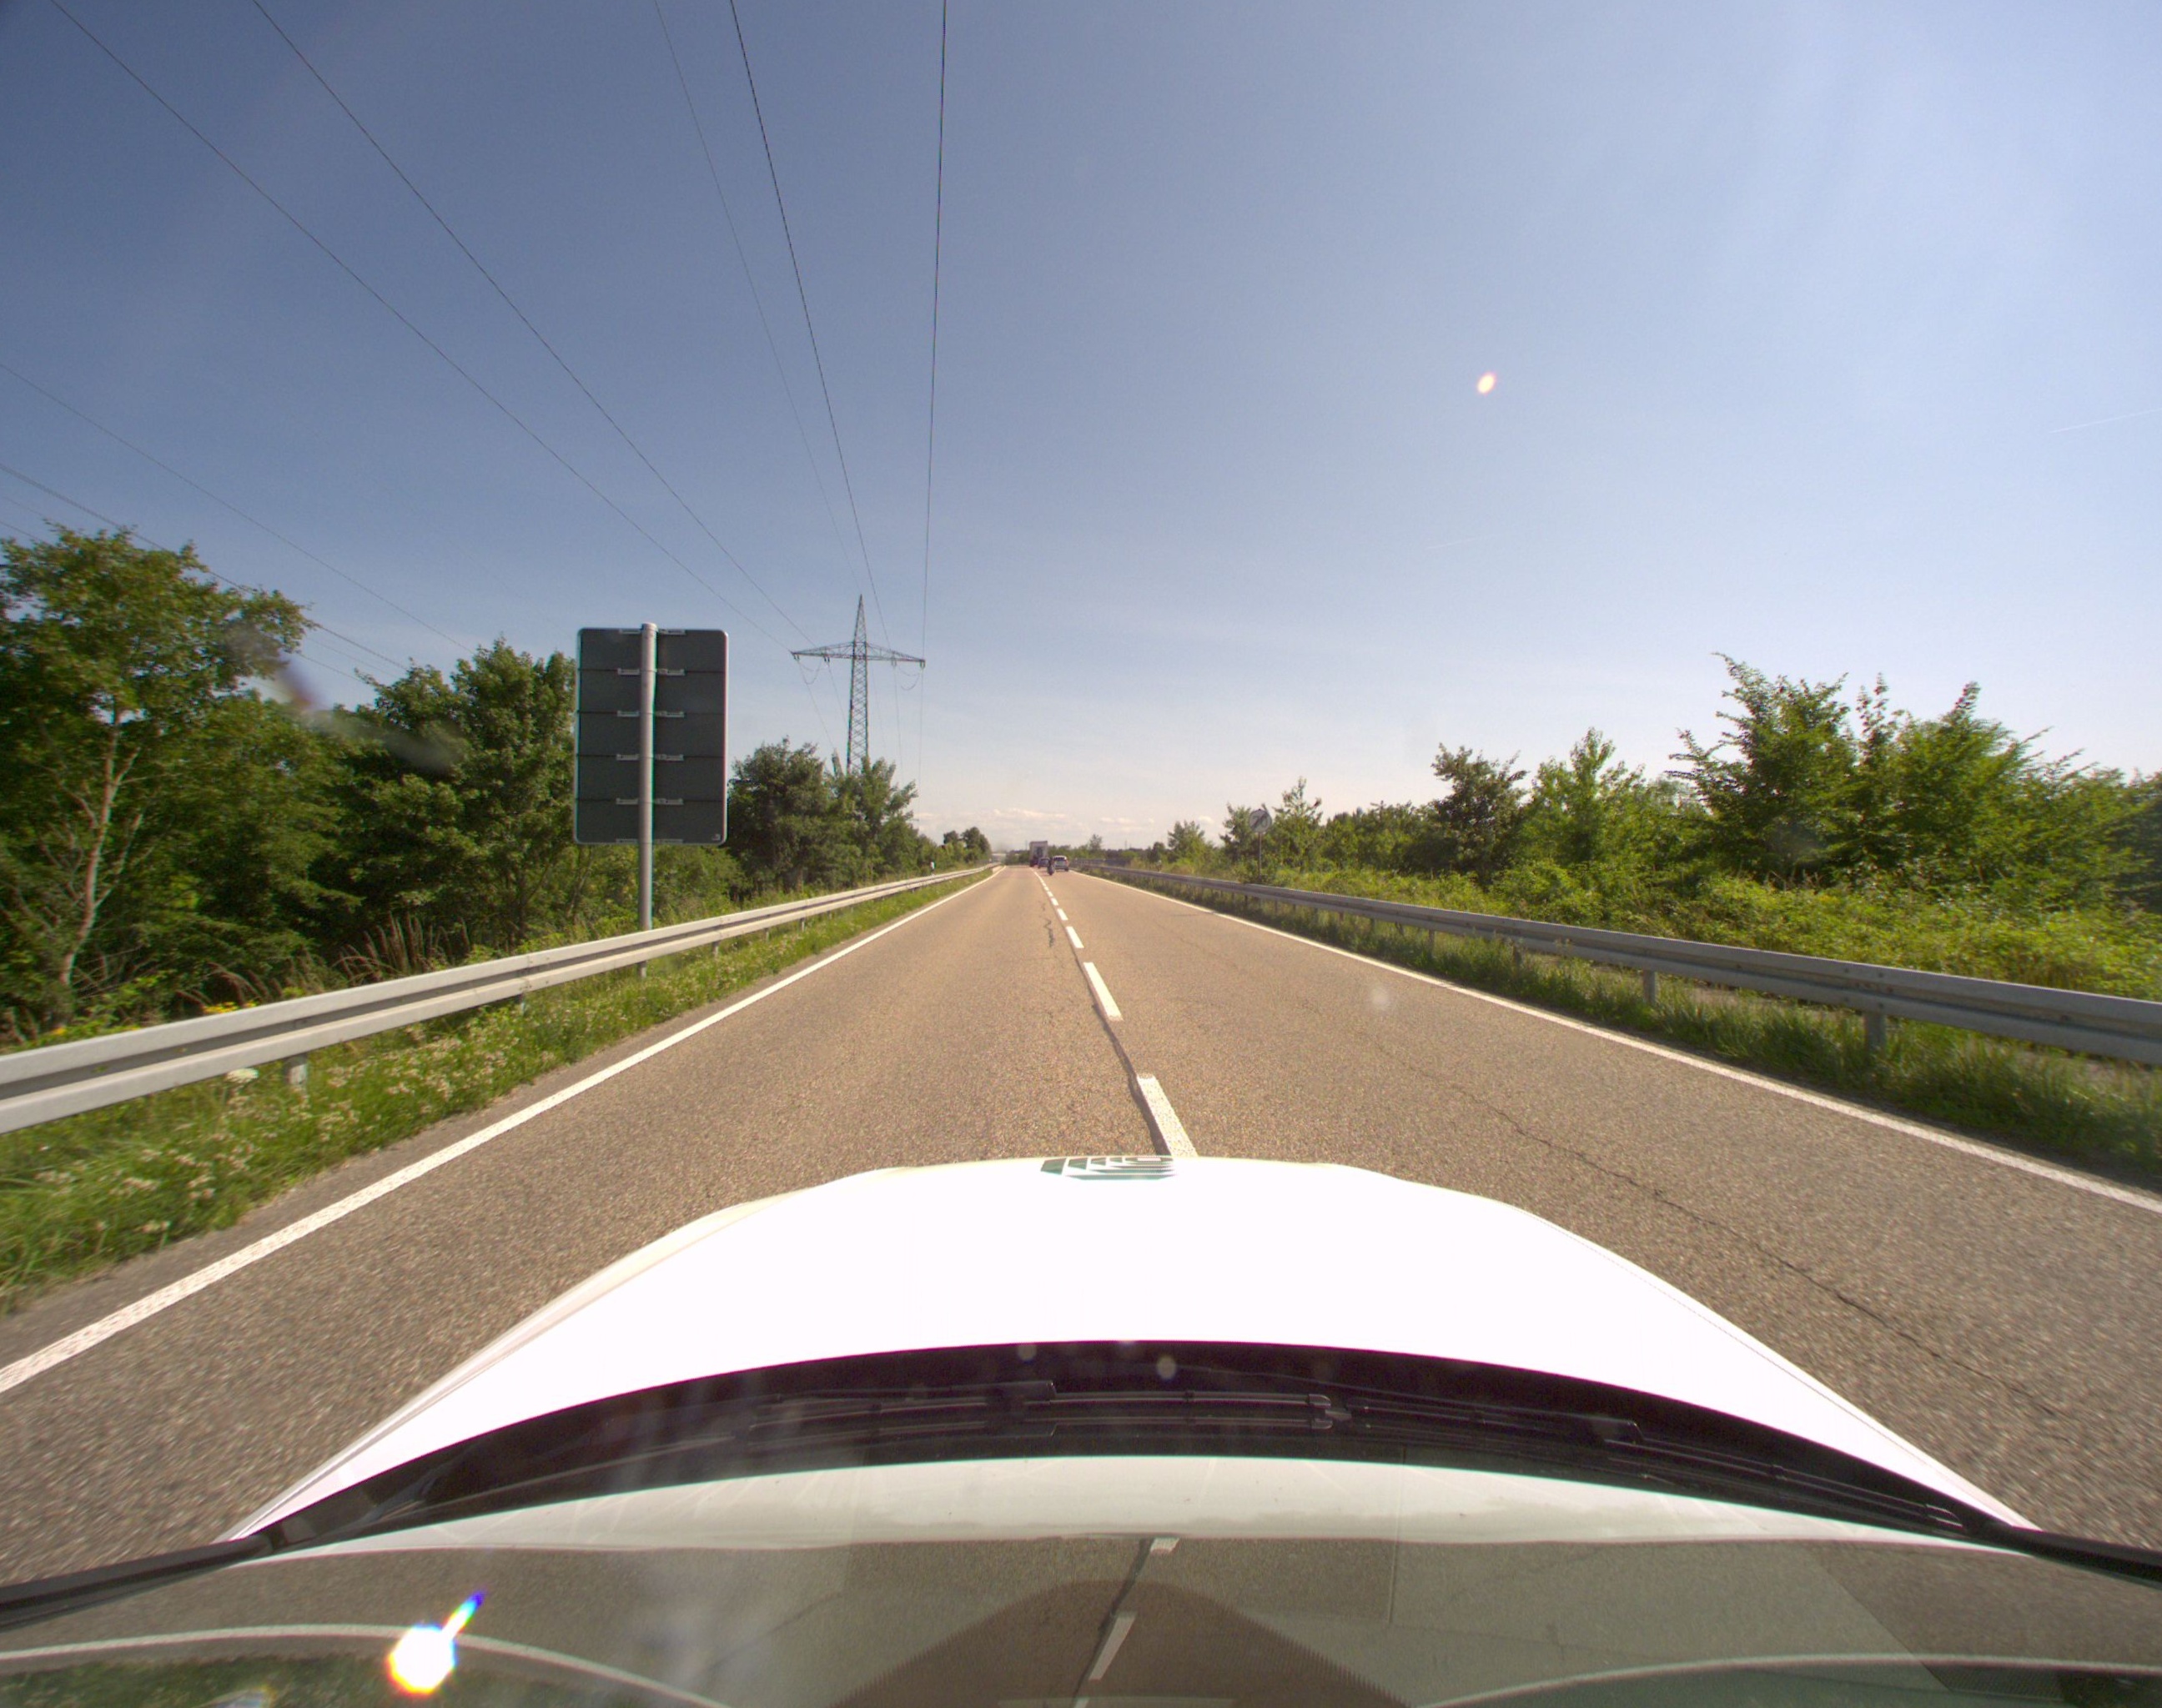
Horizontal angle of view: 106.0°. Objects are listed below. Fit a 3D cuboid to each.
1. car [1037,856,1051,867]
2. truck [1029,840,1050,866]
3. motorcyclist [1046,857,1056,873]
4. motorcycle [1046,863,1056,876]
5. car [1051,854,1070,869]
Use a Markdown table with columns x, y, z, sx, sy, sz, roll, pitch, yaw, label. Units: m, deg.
| x | y | z | sx | sy | sz | roll | pitch | yaw | label |
| --- | --- | --- | --- | --- | --- | --- | --- | --- | --- |
| -4.895 | 0.979 | 106.855 | 1.862 | 1.420 | 3.995 | 0 | 0 | -3 | car |
| -6.664 | -0.078 | 130.893 | 3.234 | 3.979 | 9.433 | 0 | 0 | -3 | truck |
| -2.498 | 0.914 | 68.060 | 0.778 | 1.325 | 0.812 | 0 | 0 | -3 | motorcyclist |
| -2.505 | 1.277 | 68.038 | 0.778 | 0.975 | 2.359 | 0 | 0 | -3 | motorcycle |
| -2.073 | 0.774 | 82.619 | 1.822 | 1.451 | 3.995 | 0 | 0 | -4 | car |
